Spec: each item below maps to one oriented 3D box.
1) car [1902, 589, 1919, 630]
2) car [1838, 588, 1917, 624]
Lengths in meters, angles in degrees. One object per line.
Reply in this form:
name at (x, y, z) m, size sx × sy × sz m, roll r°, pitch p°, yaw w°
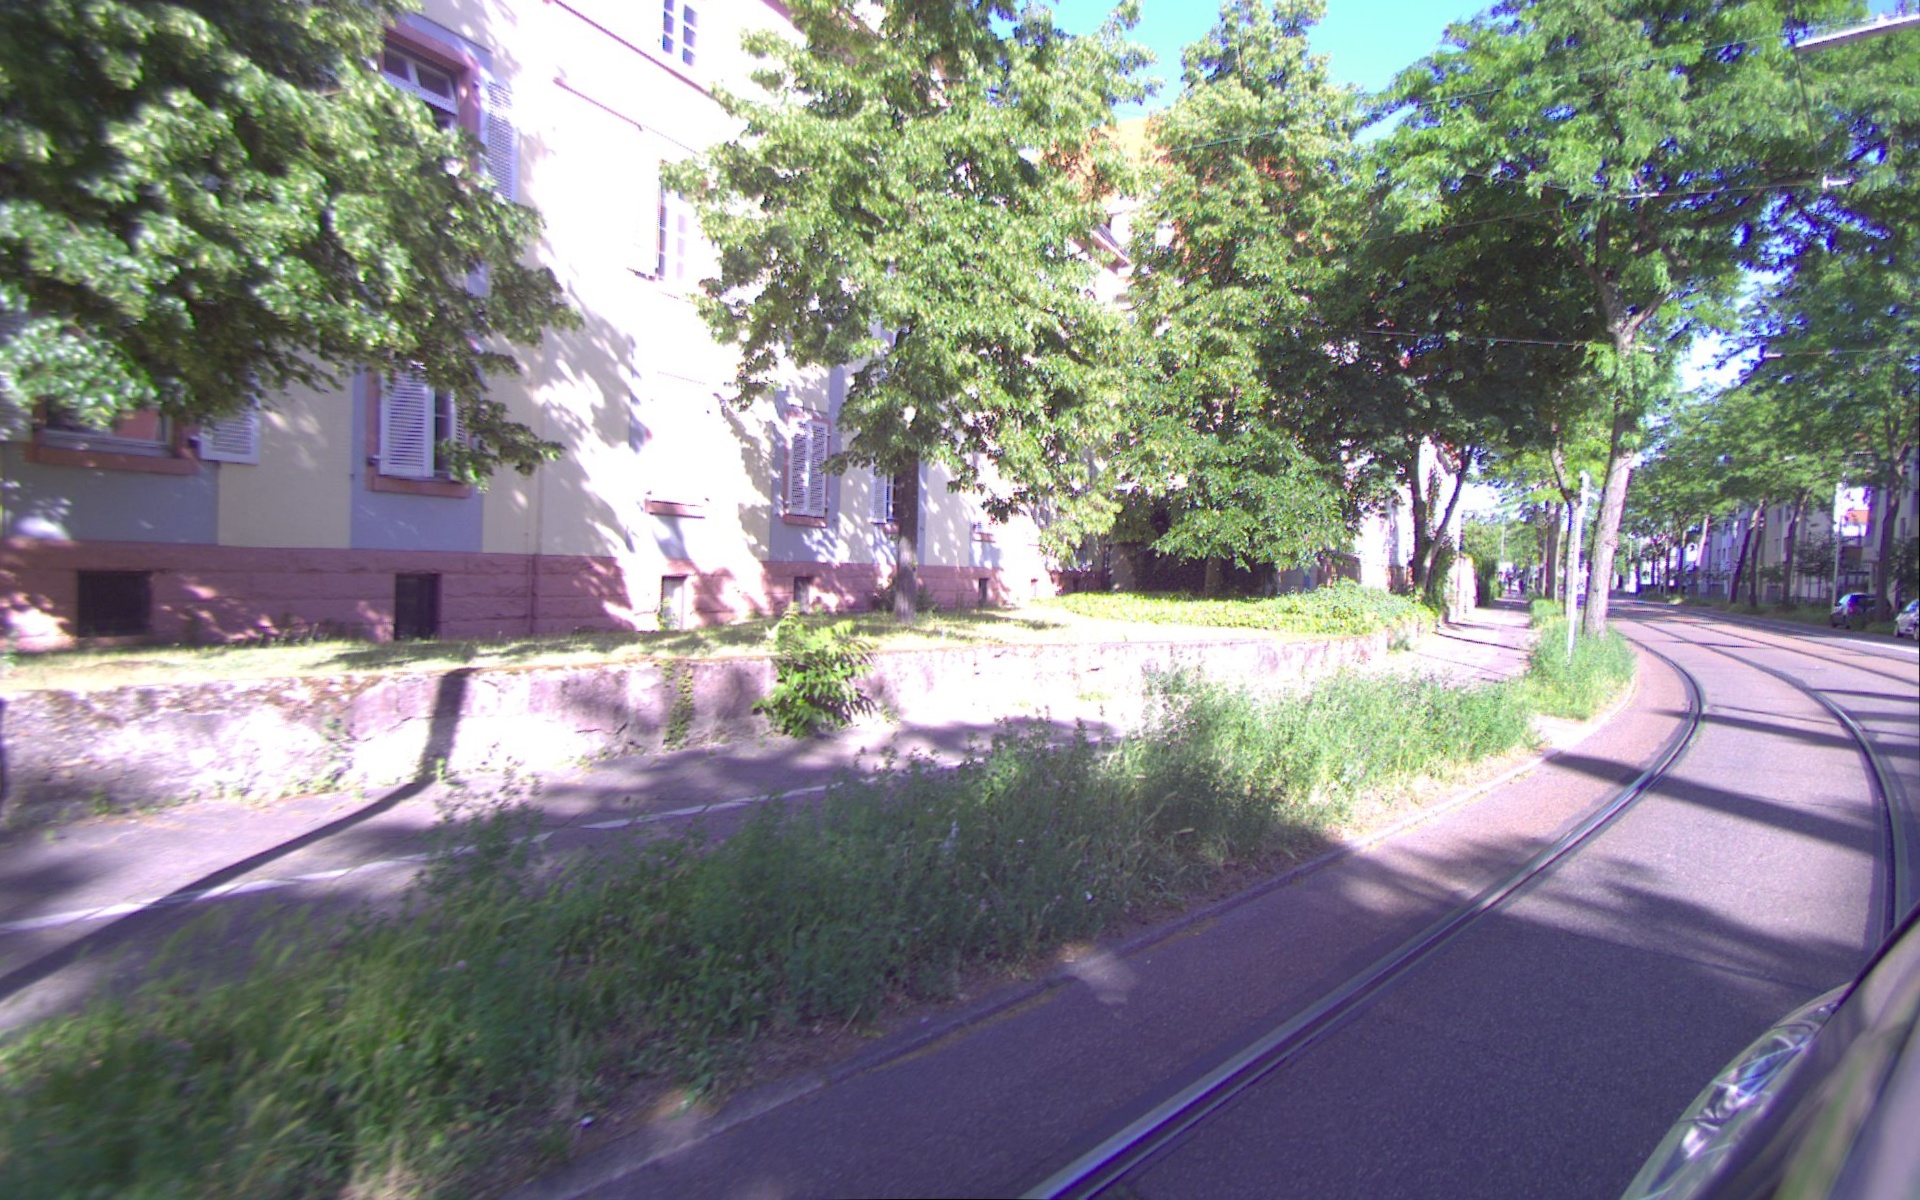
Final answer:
car at (34.801, 0.331, 35.545) m, size 1.867 × 1.416 × 3.952 m, roll 0°, pitch 1°, yaw 34°
car at (38.190, 0.213, 42.212) m, size 1.867 × 1.416 × 3.952 m, roll 0°, pitch 1°, yaw 34°
